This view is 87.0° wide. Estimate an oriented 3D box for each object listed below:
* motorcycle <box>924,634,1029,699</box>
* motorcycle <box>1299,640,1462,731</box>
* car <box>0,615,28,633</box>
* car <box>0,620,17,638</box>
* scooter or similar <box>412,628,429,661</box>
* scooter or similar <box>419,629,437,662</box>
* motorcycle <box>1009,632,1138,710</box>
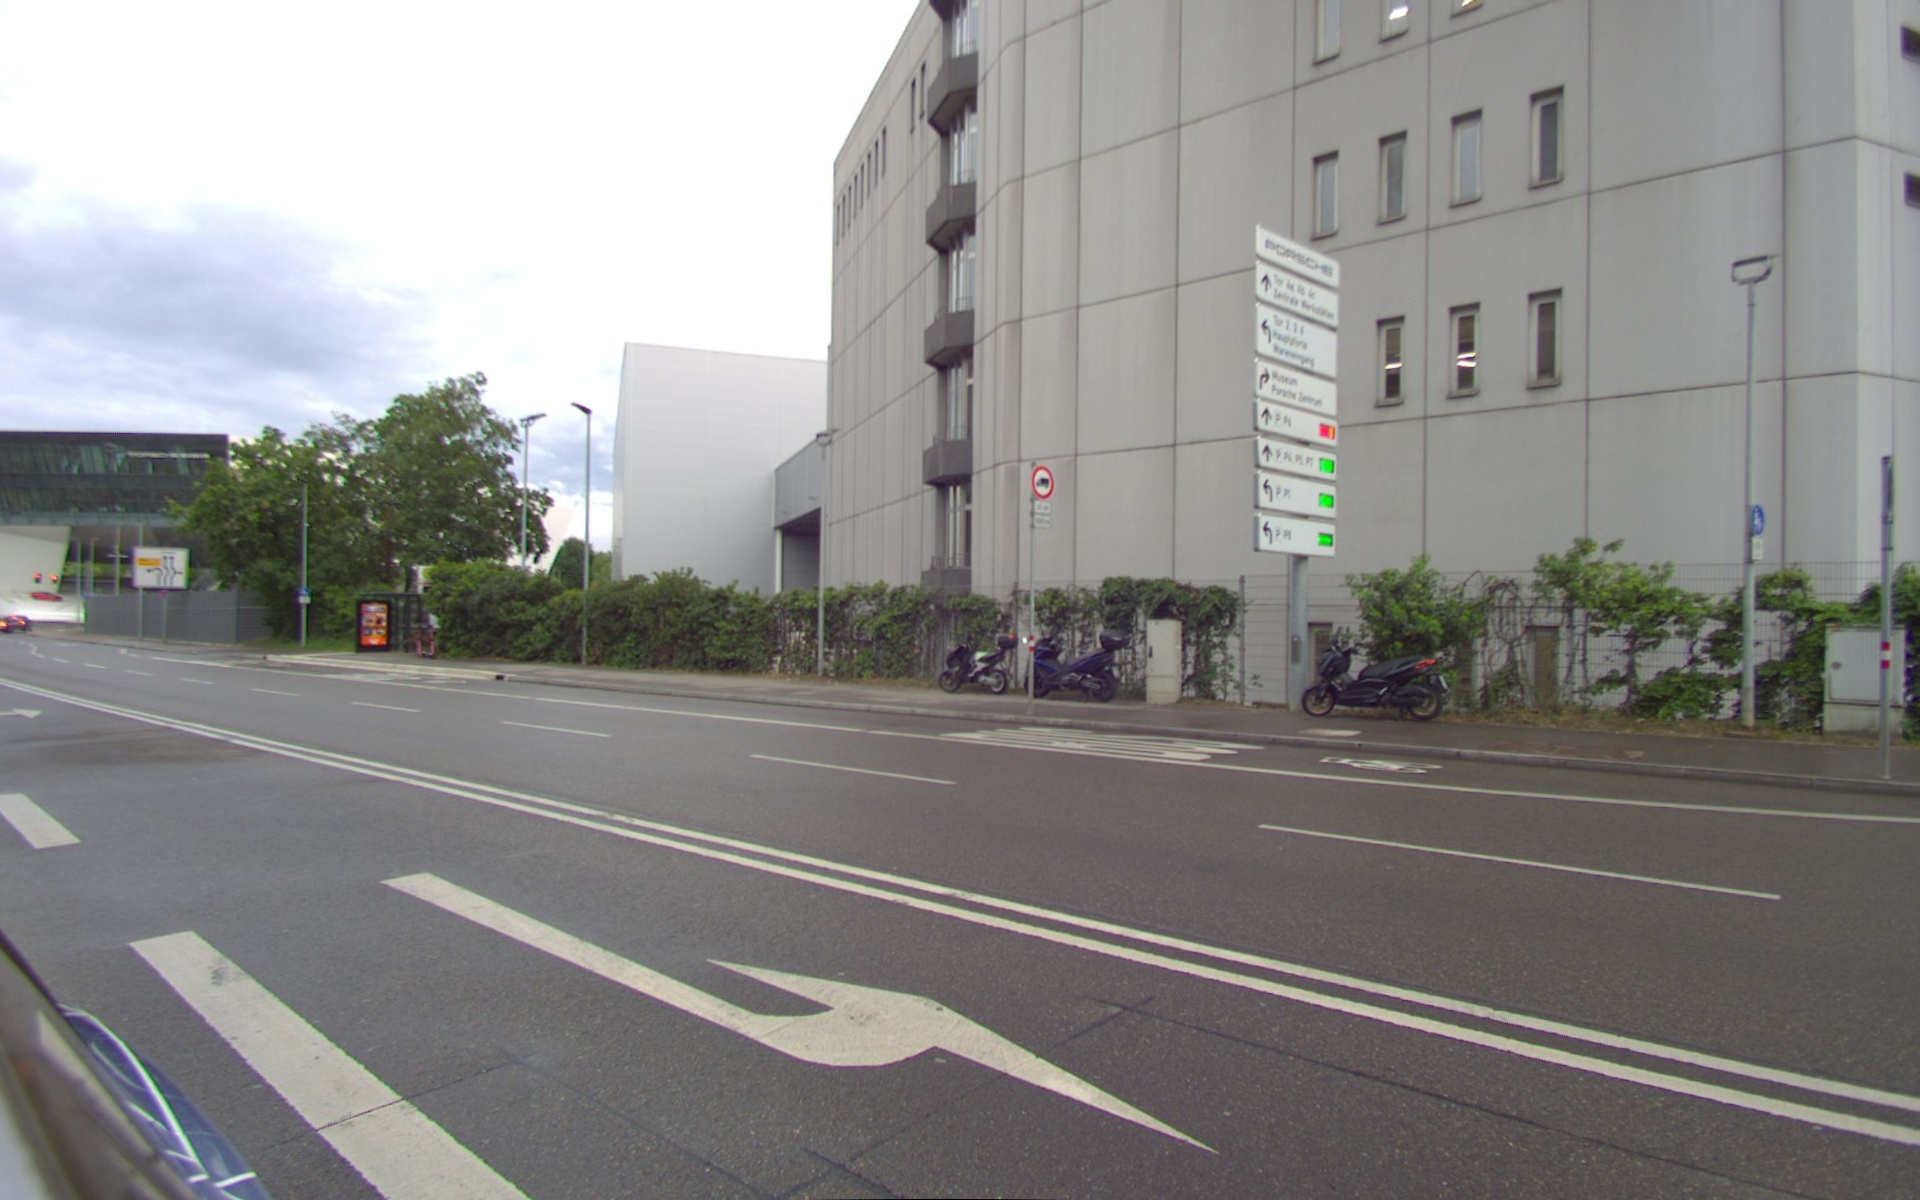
[{"bbox_3d":[0.311,1.328,20.724,2.156,1.260,0.777,-1,-2,40],"label":"motorcycle"},{"bbox_3d":[6.368,1.252,15.407,2.156,1.257,0.777,-1,-2,40],"label":"motorcycle"},{"bbox_3d":[-88.979,2.272,94.688,1.834,1.663,3.799,1,-2,-30],"label":"car"},{"bbox_3d":[-85.062,2.531,89.054,2.233,1.488,4.059,1,-1,-32],"label":"car"},{"bbox_3d":[-20.292,1.669,38.069,0.383,1.189,1.253,1,-2,-36],"label":"scooter or similar"},{"bbox_3d":[-19.445,1.655,36.979,0.373,1.190,1.380,1,-2,-36],"label":"scooter or similar"},{"bbox_3d":[2.091,1.283,18.941,2.368,1.358,0.776,-1,-2,40],"label":"motorcycle"}]
